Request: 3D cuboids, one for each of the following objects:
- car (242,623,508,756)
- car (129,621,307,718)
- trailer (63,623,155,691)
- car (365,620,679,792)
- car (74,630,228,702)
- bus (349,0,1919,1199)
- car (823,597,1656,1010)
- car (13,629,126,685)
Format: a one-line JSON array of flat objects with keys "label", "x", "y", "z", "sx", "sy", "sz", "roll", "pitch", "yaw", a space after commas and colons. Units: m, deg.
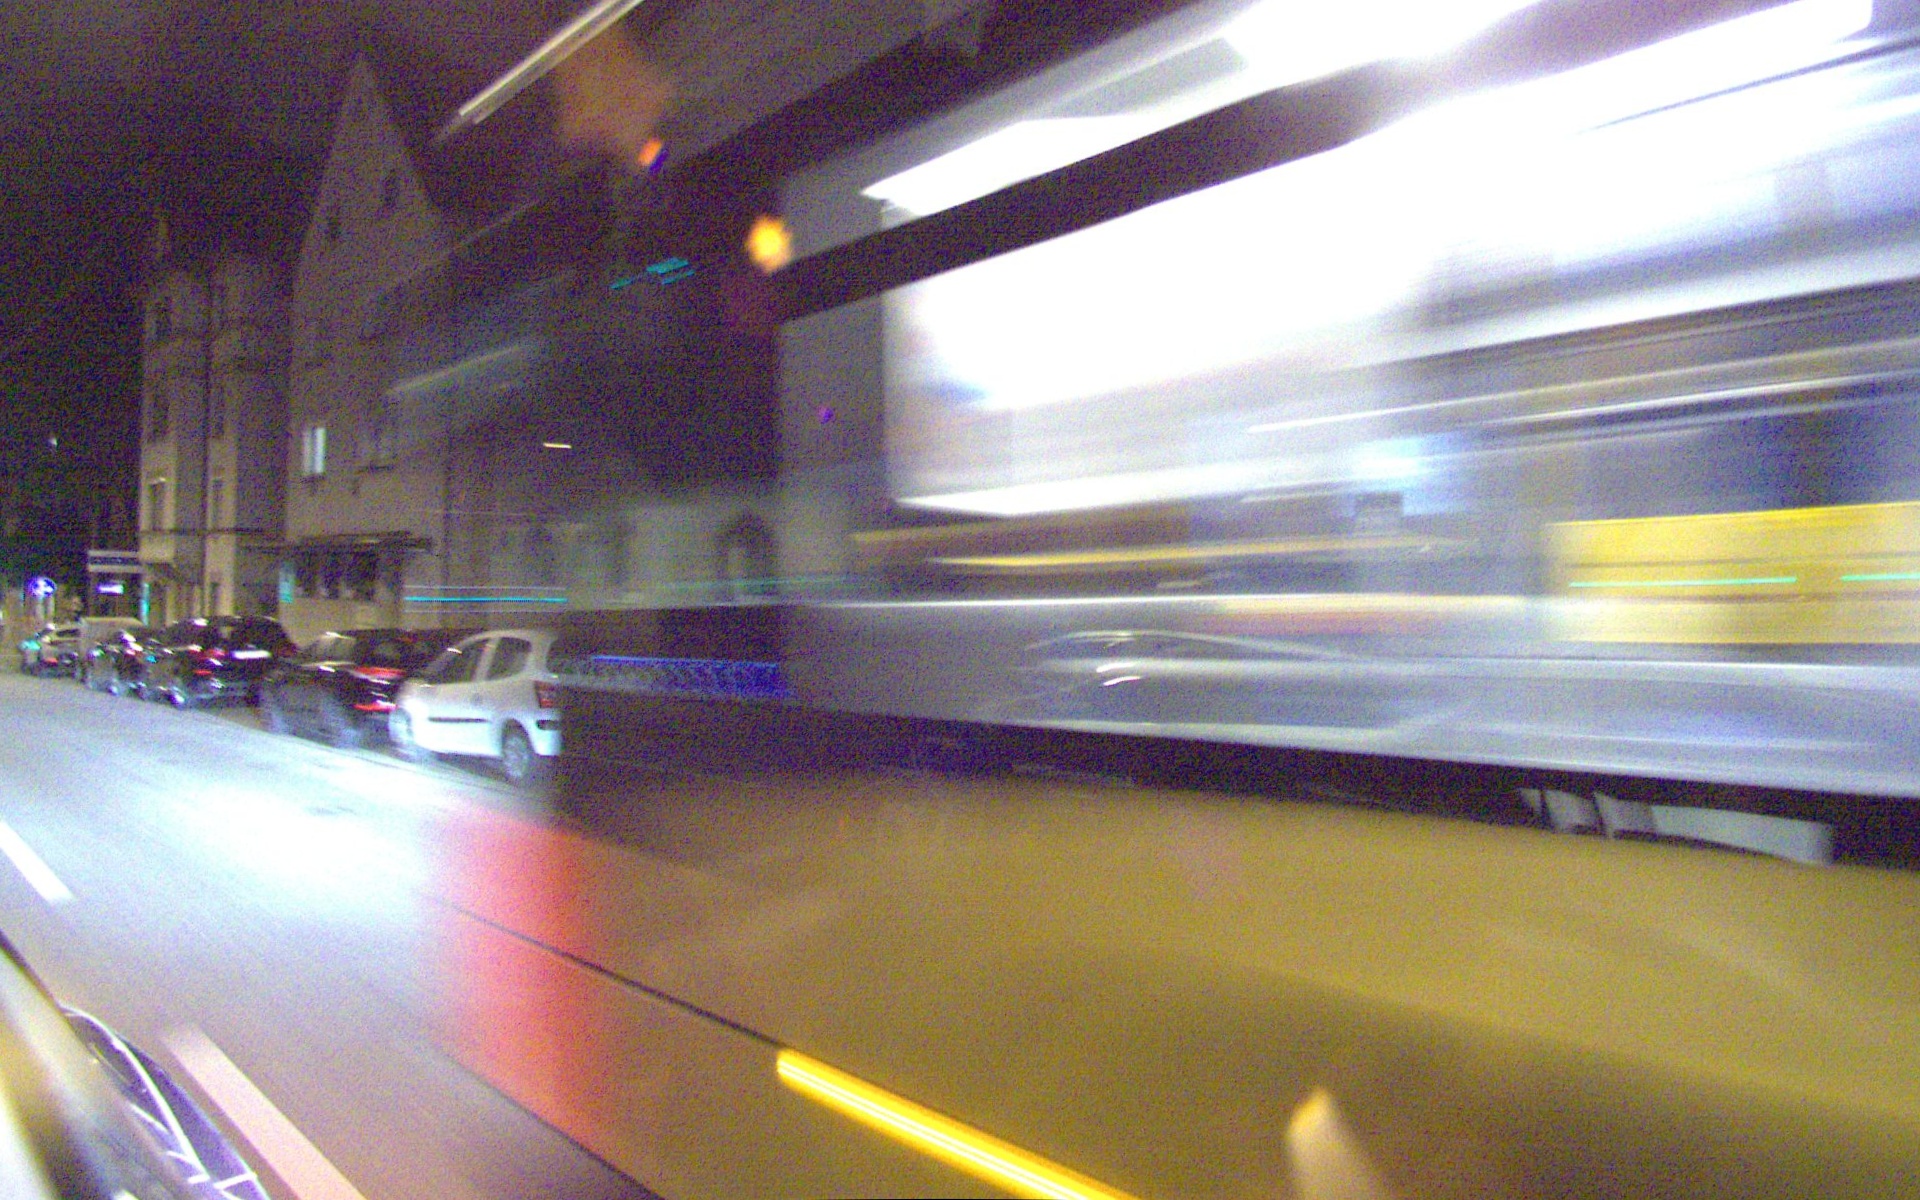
[{"label": "car", "x": -8.137, "y": 1.088, "z": 13.927, "sx": 4.277, "sy": 1.503, "sz": 1.845, "roll": -1, "pitch": -1, "yaw": 40}, {"label": "car", "x": -14.328, "y": 1.242, "z": 19.446, "sx": 4.542, "sy": 1.631, "sz": 1.816, "roll": -2, "pitch": -1, "yaw": 41}, {"label": "trailer", "x": -22.739, "y": 1.457, "z": 26.999, "sx": 1.619, "sy": 1.652, "sz": 3.441, "roll": 0, "pitch": -1, "yaw": -45}, {"label": "car", "x": -4.816, "y": 0.984, "z": 10.915, "sx": 3.778, "sy": 1.503, "sz": 1.605, "roll": -1, "pitch": -1, "yaw": 40}, {"label": "car", "x": -18.323, "y": 1.425, "z": 22.846, "sx": 4.540, "sy": 1.458, "sz": 1.816, "roll": -2, "pitch": -3, "yaw": 40}, {"label": "bus", "x": 3.172, "y": -0.239, "z": 0.418, "sx": 10.492, "sy": 3.202, "sz": 2.808, "roll": -2, "pitch": -2, "yaw": 41}, {"label": "car", "x": 1.288, "y": 0.831, "z": 5.732, "sx": 4.224, "sy": 1.503, "sz": 1.687, "roll": -2, "pitch": -4, "yaw": 40}, {"label": "car", "x": -26.125, "y": 1.609, "z": 29.641, "sx": 4.343, "sy": 1.495, "sz": 1.796, "roll": -1, "pitch": -2, "yaw": 39}]
